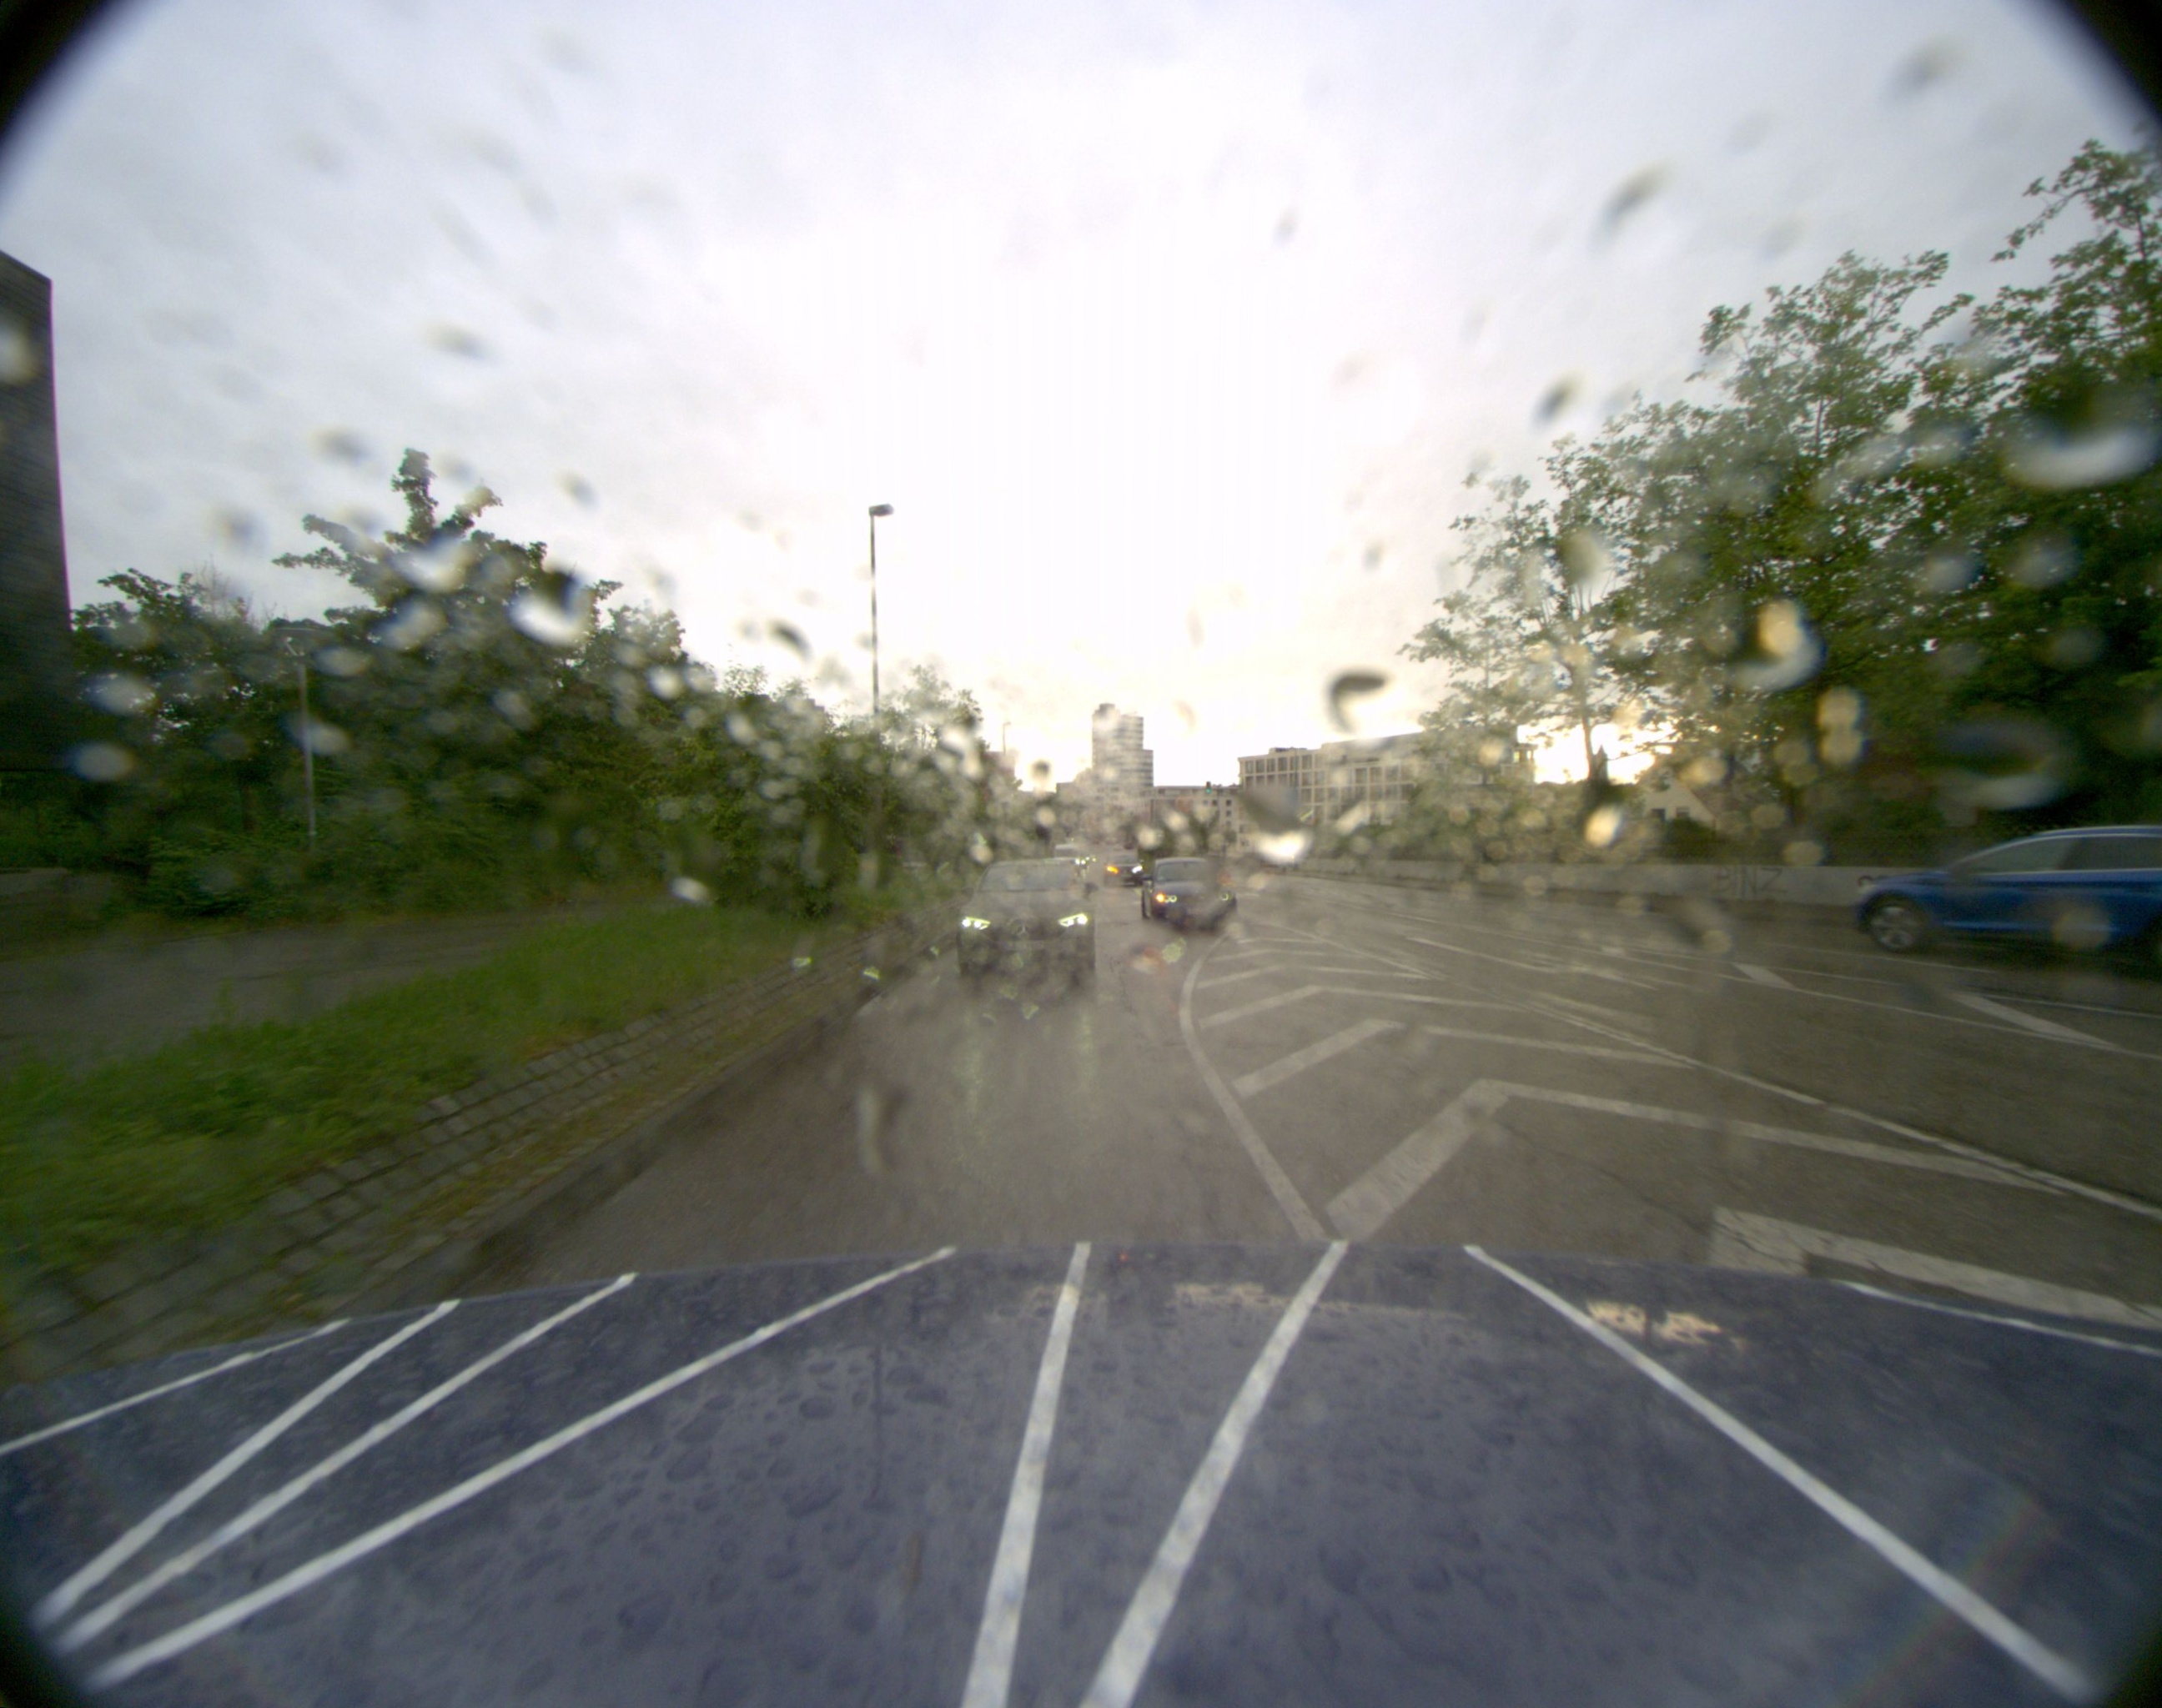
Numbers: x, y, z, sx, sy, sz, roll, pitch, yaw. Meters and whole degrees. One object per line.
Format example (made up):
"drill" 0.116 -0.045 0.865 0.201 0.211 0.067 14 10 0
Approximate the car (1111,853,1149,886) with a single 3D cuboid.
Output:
"car" 2.378 0.709 37.253 1.717 1.369 3.735 -2 1 3

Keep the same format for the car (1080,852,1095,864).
"car" 0.882 0.547 107.303 1.998 1.543 4.000 -1 0 0

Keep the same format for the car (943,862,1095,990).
"car" -0.750 0.942 11.999 1.836 1.436 4.550 -2 1 2

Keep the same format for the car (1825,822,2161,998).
"car" 11.626 0.512 8.539 1.998 1.683 4.704 -2 2 1

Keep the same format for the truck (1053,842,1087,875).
"truck" -0.817 0.284 59.870 2.168 2.426 6.199 -1 1 3

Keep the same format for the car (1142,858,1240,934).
"car" 2.278 0.828 16.616 1.786 1.335 3.705 -1 1 3

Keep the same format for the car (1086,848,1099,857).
"car" 1.904 -0.252 124.084 1.998 1.543 4.000 -1 0 0

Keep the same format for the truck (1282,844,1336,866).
"truck" 27.760 0.113 92.514 6.183 2.524 2.223 1 2 -22

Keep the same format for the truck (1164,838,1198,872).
"truck" 7.631 -0.001 58.548 2.168 2.426 6.199 -1 1 3

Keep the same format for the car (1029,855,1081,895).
"car" -1.010 0.801 31.184 1.717 1.389 4.036 -2 1 3

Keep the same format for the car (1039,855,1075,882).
"car" -1.362 0.799 44.837 1.717 1.369 3.735 -2 1 3

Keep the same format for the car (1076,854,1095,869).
"car" 0.501 0.833 86.127 1.998 1.543 4.000 -1 0 0

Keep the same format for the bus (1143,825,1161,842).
"bus" 16.784 -4.861 180.719 2.951 3.973 18.224 1 2 1
